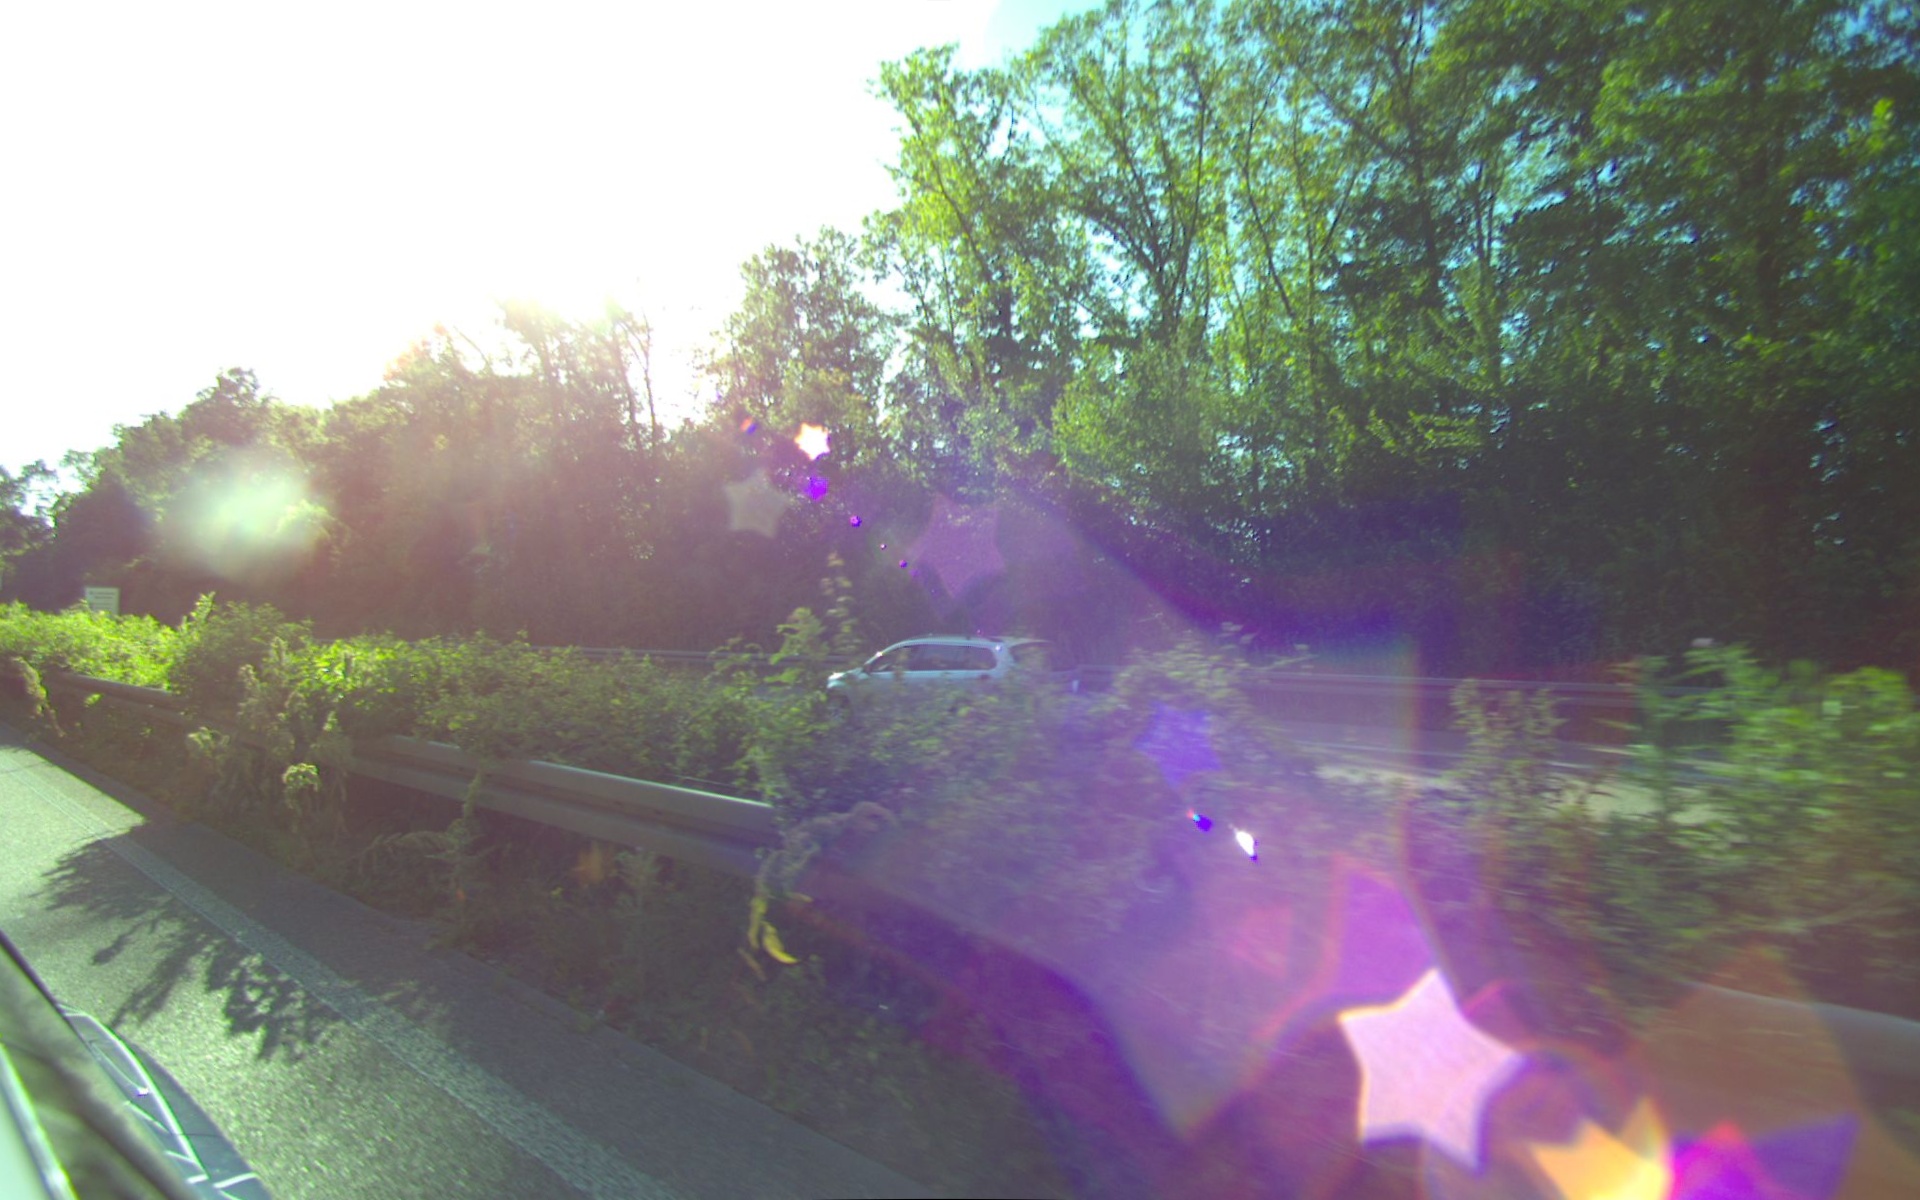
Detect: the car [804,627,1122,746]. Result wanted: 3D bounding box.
[{"bbox_3d":[-0.056,1.135,14.635,4.334,1.460,1.974,-2,-2,39],"label":"car"}]
